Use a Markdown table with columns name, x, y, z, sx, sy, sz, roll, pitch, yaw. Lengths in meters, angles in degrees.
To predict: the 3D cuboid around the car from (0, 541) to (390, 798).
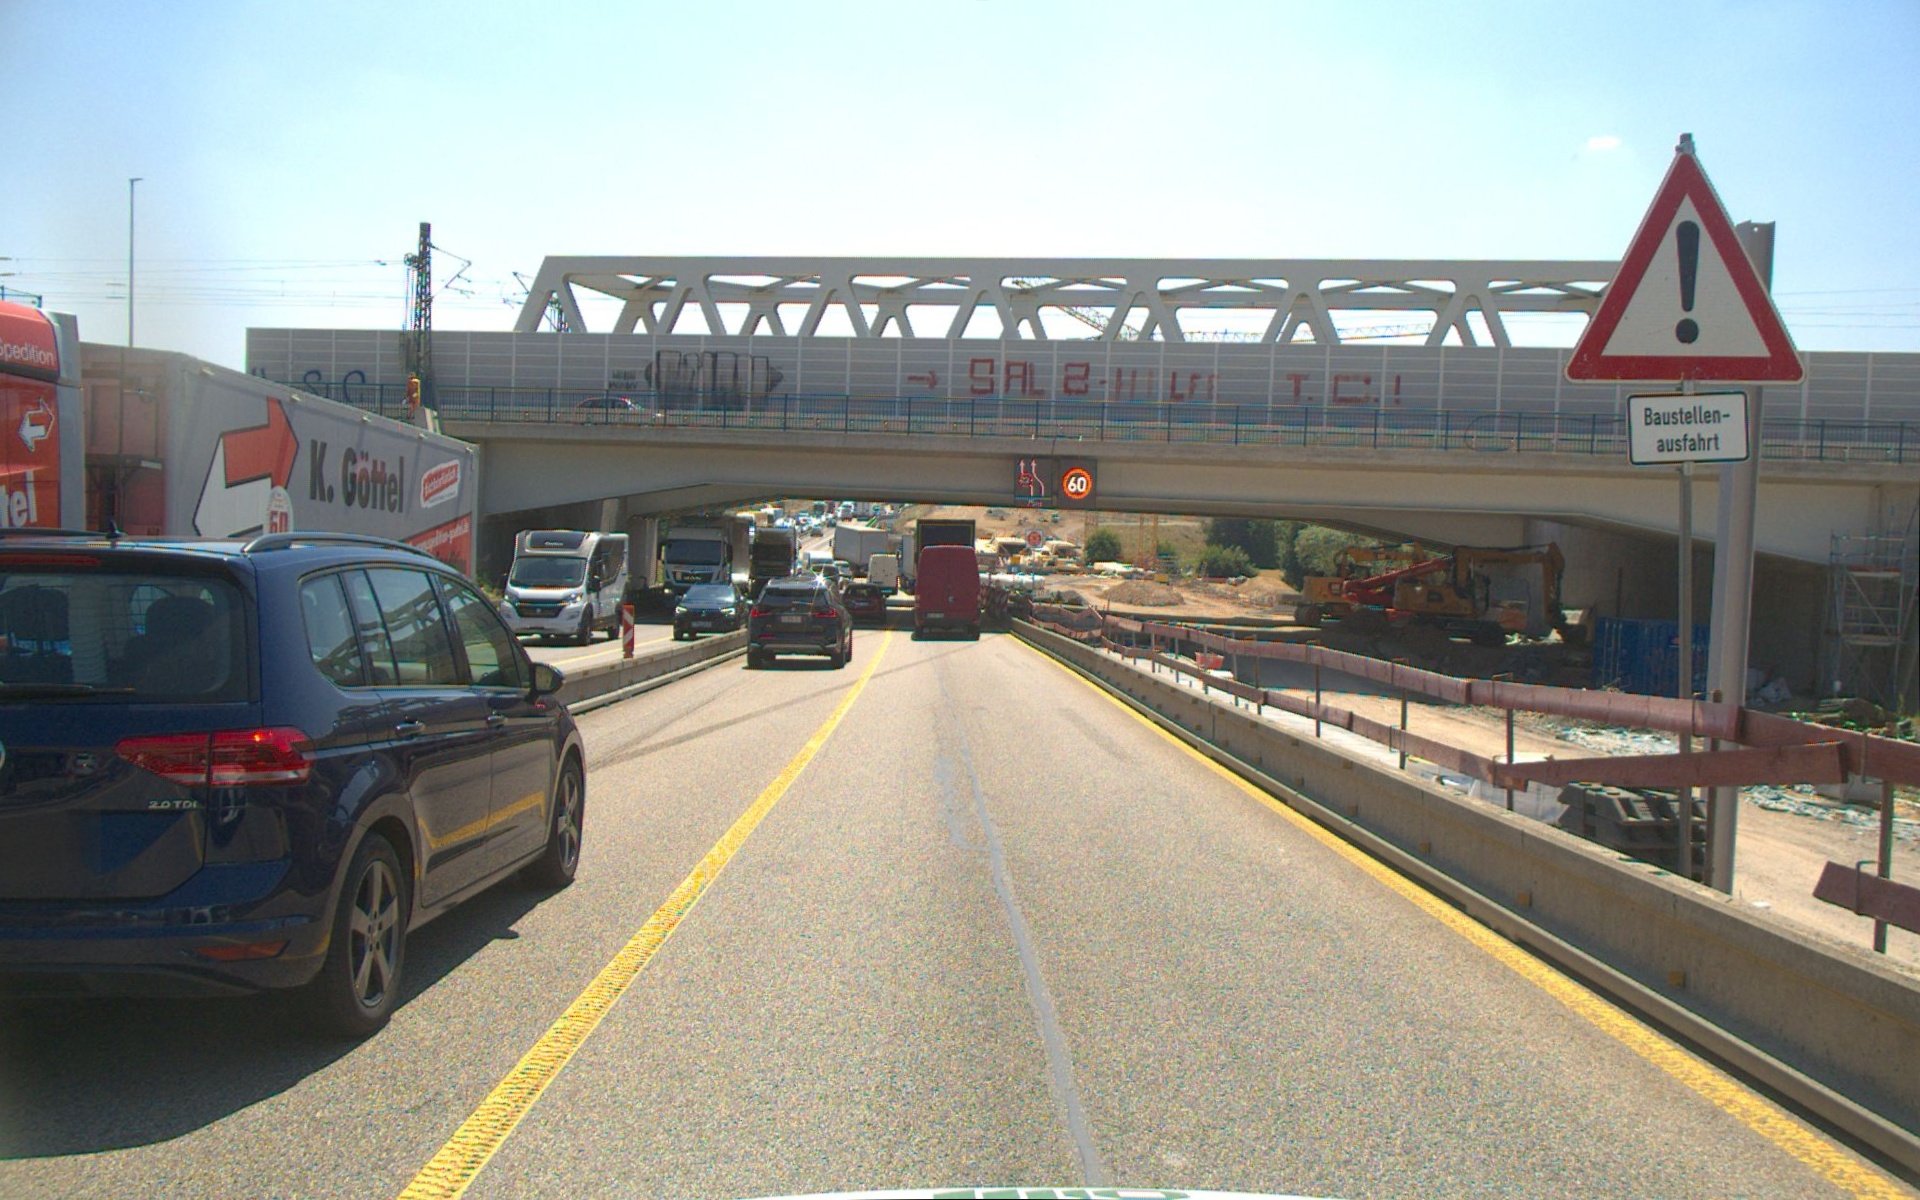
| name | x | y | z | sx | sy | sz | roll | pitch | yaw |
| --- | --- | --- | --- | --- | --- | --- | --- | --- | --- |
| car | -6.320 | 0.435 | 13.301 | 1.796 | 1.693 | 4.685 | 1 | 0 | 0 |

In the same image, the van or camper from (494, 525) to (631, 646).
| name | x | y | z | sx | sy | sz | roll | pitch | yaw |
| --- | --- | --- | --- | --- | --- | --- | --- | --- | --- |
| van or camper | -9.779 | -0.363 | 41.247 | 2.081 | 2.752 | 6.452 | 1 | 0 | -3 |

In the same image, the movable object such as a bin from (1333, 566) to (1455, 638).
| name | x | y | z | sx | sy | sz | roll | pitch | yaw |
| --- | --- | --- | --- | --- | --- | --- | --- | --- | --- |
| movable object such as a bin | 20.657 | 0.094 | 78.924 | 5.130 | 3.110 | 2.497 | 3 | 0 | 3 |

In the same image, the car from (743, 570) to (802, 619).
| name | x | y | z | sx | sy | sz | roll | pitch | yaw |
| --- | --- | --- | --- | --- | --- | --- | --- | --- | --- |
| car | -7.136 | -0.213 | 63.436 | 1.818 | 1.787 | 4.607 | 1 | 0 | -1 |

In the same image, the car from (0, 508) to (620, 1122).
| name | x | y | z | sx | sy | sz | roll | pitch | yaw |
| --- | --- | --- | --- | --- | --- | --- | --- | --- | --- |
| car | -2.702 | 0.563 | 6.705 | 1.698 | 1.664 | 4.389 | 1 | 0 | 0 |

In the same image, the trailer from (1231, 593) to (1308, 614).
| name | x | y | z | sx | sy | sz | roll | pitch | yaw |
| --- | --- | --- | --- | --- | --- | --- | --- | --- | --- |
| trailer | 20.016 | 0.229 | 107.078 | 4.618 | 1.241 | 2.055 | 1 | 0 | -1 |

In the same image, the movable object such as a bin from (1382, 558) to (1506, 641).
| name | x | y | z | sx | sy | sz | roll | pitch | yaw |
| --- | --- | --- | --- | --- | --- | --- | --- | --- | --- |
| movable object such as a bin | 20.916 | -0.023 | 71.664 | 4.458 | 3.344 | 2.991 | 3 | 0 | 3 |

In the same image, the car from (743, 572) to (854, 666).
| name | x | y | z | sx | sy | sz | roll | pitch | yaw |
| --- | --- | --- | --- | --- | --- | --- | --- | --- | --- |
| car | -3.047 | 0.329 | 31.975 | 1.796 | 1.664 | 4.388 | 1 | 0 | -2 |

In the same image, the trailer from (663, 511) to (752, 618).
| name | x | y | z | sx | sy | sz | roll | pitch | yaw |
| --- | --- | --- | --- | --- | --- | --- | --- | --- | --- |
| trailer | -10.647 | -1.422 | 70.497 | 2.756 | 4.247 | 8.239 | 1 | 0 | -2 |

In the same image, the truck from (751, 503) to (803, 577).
| name | x | y | z | sx | sy | sz | roll | pitch | yaw |
| --- | --- | --- | --- | --- | --- | --- | --- | --- | --- |
| truck | -11.074 | -3.575 | 100.459 | 2.605 | 4.243 | 5.185 | 1 | 0 | -1 |

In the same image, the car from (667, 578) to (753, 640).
| name | x | y | z | sx | sy | sz | roll | pitch | yaw |
| --- | --- | --- | --- | --- | --- | --- | --- | --- | --- |
| car | -6.767 | 0.208 | 45.050 | 1.718 | 1.544 | 4.186 | 1 | 1 | -1 |

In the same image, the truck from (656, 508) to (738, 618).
| name | x | y | z | sx | sy | sz | roll | pitch | yaw |
| --- | --- | --- | --- | --- | --- | --- | --- | --- | --- |
| truck | -10.460 | -1.443 | 66.161 | 2.742 | 4.222 | 4.071 | 1 | 0 | -3 |

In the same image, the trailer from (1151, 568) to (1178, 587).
| name | x | y | z | sx | sy | sz | roll | pitch | yaw |
| --- | --- | --- | --- | --- | --- | --- | --- | --- | --- |
| trailer | 17.660 | -1.958 | 143.077 | 1.592 | 1.511 | 3.823 | 1 | 2 | -5 |

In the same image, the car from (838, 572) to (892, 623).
| name | x | y | z | sx | sy | sz | roll | pitch | yaw |
| --- | --- | --- | --- | --- | --- | --- | --- | --- | --- |
| car | -3.521 | -0.107 | 61.948 | 1.796 | 1.808 | 4.389 | 1 | 0 | -1 |

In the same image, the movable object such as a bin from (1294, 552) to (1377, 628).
| name | x | y | z | sx | sy | sz | roll | pitch | yaw |
| --- | --- | --- | --- | --- | --- | --- | --- | --- | --- |
| movable object such as a bin | 18.781 | -0.502 | 82.969 | 3.798 | 3.604 | 2.905 | 2 | 0 | 10 |

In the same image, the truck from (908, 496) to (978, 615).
| name | x | y | z | sx | sy | sz | roll | pitch | yaw |
| --- | --- | --- | --- | --- | --- | --- | --- | --- | --- |
| truck | -0.790 | -2.113 | 74.284 | 2.885 | 5.030 | 6.742 | 1 | 3 | -1 |

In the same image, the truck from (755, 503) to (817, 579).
| name | x | y | z | sx | sy | sz | roll | pitch | yaw |
| --- | --- | --- | --- | --- | --- | --- | --- | --- | --- |
| truck | -11.127 | -3.651 | 107.057 | 2.712 | 4.389 | 13.488 | 1 | 0 | -1 |

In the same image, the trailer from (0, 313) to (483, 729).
| name | x | y | z | sx | sy | sz | roll | pitch | yaw |
| --- | --- | --- | --- | --- | --- | --- | --- | --- | --- |
| trailer | -9.113 | -0.738 | 21.426 | 2.602 | 3.882 | 11.818 | 1 | 0 | -1 |

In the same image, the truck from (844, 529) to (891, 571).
| name | x | y | z | sx | sy | sz | roll | pitch | yaw |
| --- | --- | --- | --- | --- | --- | --- | --- | --- | --- |
| truck | -8.392 | -4.474 | 149.427 | 3.161 | 3.419 | 8.918 | 1 | 0 | -10 |

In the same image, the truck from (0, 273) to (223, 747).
| name | x | y | z | sx | sy | sz | roll | pitch | yaw |
| --- | --- | --- | --- | --- | --- | --- | --- | --- | --- |
| truck | -9.173 | -0.750 | 15.001 | 2.532 | 3.895 | 5.380 | 1 | 0 | -1 |

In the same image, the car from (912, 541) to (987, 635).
| name | x | y | z | sx | sy | sz | roll | pitch | yaw |
| --- | --- | --- | --- | --- | --- | --- | --- | --- | --- |
| car | -0.329 | -0.331 | 49.879 | 2.106 | 2.656 | 5.437 | 1 | 0 | -1 |

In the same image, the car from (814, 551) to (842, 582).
| name | x | y | z | sx | sy | sz | roll | pitch | yaw |
| --- | --- | --- | --- | --- | --- | --- | --- | --- | --- |
| car | -10.460 | -2.652 | 130.690 | 1.943 | 2.370 | 6.049 | 1 | 1 | -7 |

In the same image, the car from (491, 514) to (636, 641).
| name | x | y | z | sx | sy | sz | roll | pitch | yaw |
| --- | --- | --- | --- | --- | --- | --- | --- | --- | --- |
| car | -9.779 | -0.511 | 41.378 | 2.229 | 2.870 | 6.556 | 1 | 0 | -2 |

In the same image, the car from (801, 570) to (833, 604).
| name | x | y | z | sx | sy | sz | roll | pitch | yaw |
| --- | --- | --- | --- | --- | --- | --- | --- | --- | --- |
| car | -8.697 | -0.812 | 100.797 | 1.764 | 1.966 | 4.966 | 1 | 1 | -3 |

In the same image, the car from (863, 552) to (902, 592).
| name | x | y | z | sx | sy | sz | roll | pitch | yaw |
| --- | --- | --- | --- | --- | --- | --- | --- | --- | --- |
| car | -5.188 | -1.877 | 109.926 | 2.222 | 2.395 | 5.154 | 1 | 4 | -7 |

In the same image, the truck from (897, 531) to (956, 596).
| name | x | y | z | sx | sy | sz | roll | pitch | yaw |
| --- | --- | --- | --- | --- | --- | --- | --- | --- | --- |
| truck | -2.344 | -2.536 | 112.622 | 3.122 | 4.058 | 6.731 | 1 | 3 | -8 |
